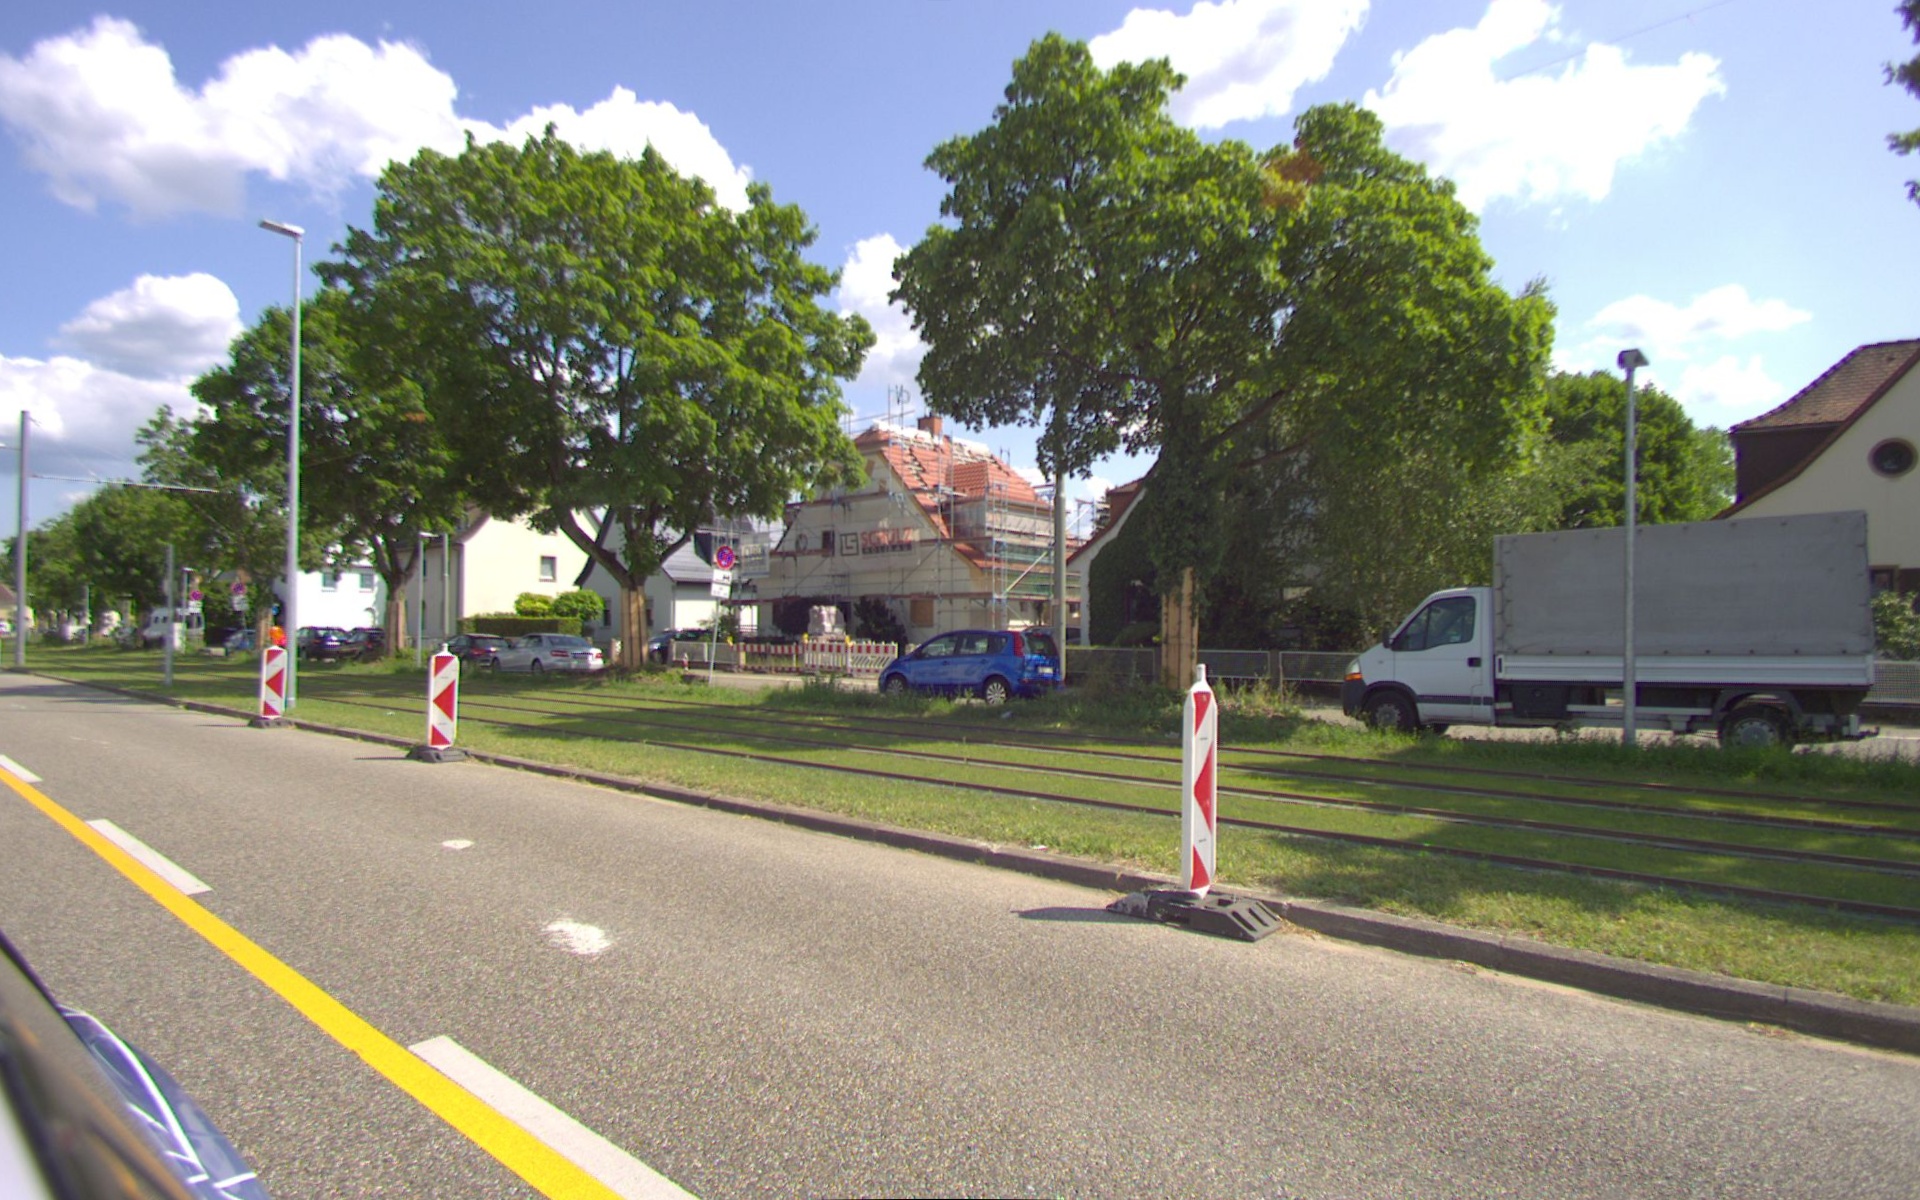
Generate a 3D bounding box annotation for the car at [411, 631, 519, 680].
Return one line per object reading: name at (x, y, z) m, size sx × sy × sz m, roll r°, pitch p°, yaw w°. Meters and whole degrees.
car at (-17.609, 1.919, 35.933) m, size 4.603 × 1.623 × 1.733 m, roll -2°, pitch -3°, yaw 40°

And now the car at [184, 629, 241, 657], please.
car at (-44.642, 2.559, 60.404) m, size 4.603 × 1.623 × 1.733 m, roll -2°, pitch -3°, yaw 40°

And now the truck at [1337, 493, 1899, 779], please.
truck at (8.280, 0.467, 13.358) m, size 5.871 × 3.010 × 1.982 m, roll -2°, pitch -3°, yaw 41°

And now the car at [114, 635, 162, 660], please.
car at (-57.020, 3.275, 70.149) m, size 4.603 × 1.623 × 1.733 m, roll -2°, pitch -3°, yaw 40°

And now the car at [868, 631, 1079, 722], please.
car at (0.206, 1.446, 20.174) m, size 4.047 × 1.623 × 1.733 m, roll -2°, pitch -3°, yaw 40°

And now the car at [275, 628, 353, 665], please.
car at (-29.598, 2.104, 46.332) m, size 4.603 × 1.623 × 1.733 m, roll -2°, pitch -3°, yaw 40°

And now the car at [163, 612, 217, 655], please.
car at (-48.710, 2.110, 63.996) m, size 4.603 × 2.636 × 1.733 m, roll -2°, pitch -3°, yaw 40°

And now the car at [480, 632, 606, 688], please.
car at (-13.168, 1.834, 31.862) m, size 4.603 × 1.623 × 1.733 m, roll -2°, pitch -3°, yaw 40°

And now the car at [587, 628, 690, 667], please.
car at (-14.078, 2.052, 44.509) m, size 1.756 × 1.623 × 3.995 m, roll -2°, pitch -3°, yaw 41°

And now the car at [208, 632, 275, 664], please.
car at (-37.641, 2.474, 52.980) m, size 4.603 × 1.623 × 1.733 m, roll -2°, pitch -3°, yaw 40°

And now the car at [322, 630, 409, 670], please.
car at (-25.179, 2.079, 42.828) m, size 4.603 × 1.623 × 1.733 m, roll -2°, pitch -3°, yaw 40°
